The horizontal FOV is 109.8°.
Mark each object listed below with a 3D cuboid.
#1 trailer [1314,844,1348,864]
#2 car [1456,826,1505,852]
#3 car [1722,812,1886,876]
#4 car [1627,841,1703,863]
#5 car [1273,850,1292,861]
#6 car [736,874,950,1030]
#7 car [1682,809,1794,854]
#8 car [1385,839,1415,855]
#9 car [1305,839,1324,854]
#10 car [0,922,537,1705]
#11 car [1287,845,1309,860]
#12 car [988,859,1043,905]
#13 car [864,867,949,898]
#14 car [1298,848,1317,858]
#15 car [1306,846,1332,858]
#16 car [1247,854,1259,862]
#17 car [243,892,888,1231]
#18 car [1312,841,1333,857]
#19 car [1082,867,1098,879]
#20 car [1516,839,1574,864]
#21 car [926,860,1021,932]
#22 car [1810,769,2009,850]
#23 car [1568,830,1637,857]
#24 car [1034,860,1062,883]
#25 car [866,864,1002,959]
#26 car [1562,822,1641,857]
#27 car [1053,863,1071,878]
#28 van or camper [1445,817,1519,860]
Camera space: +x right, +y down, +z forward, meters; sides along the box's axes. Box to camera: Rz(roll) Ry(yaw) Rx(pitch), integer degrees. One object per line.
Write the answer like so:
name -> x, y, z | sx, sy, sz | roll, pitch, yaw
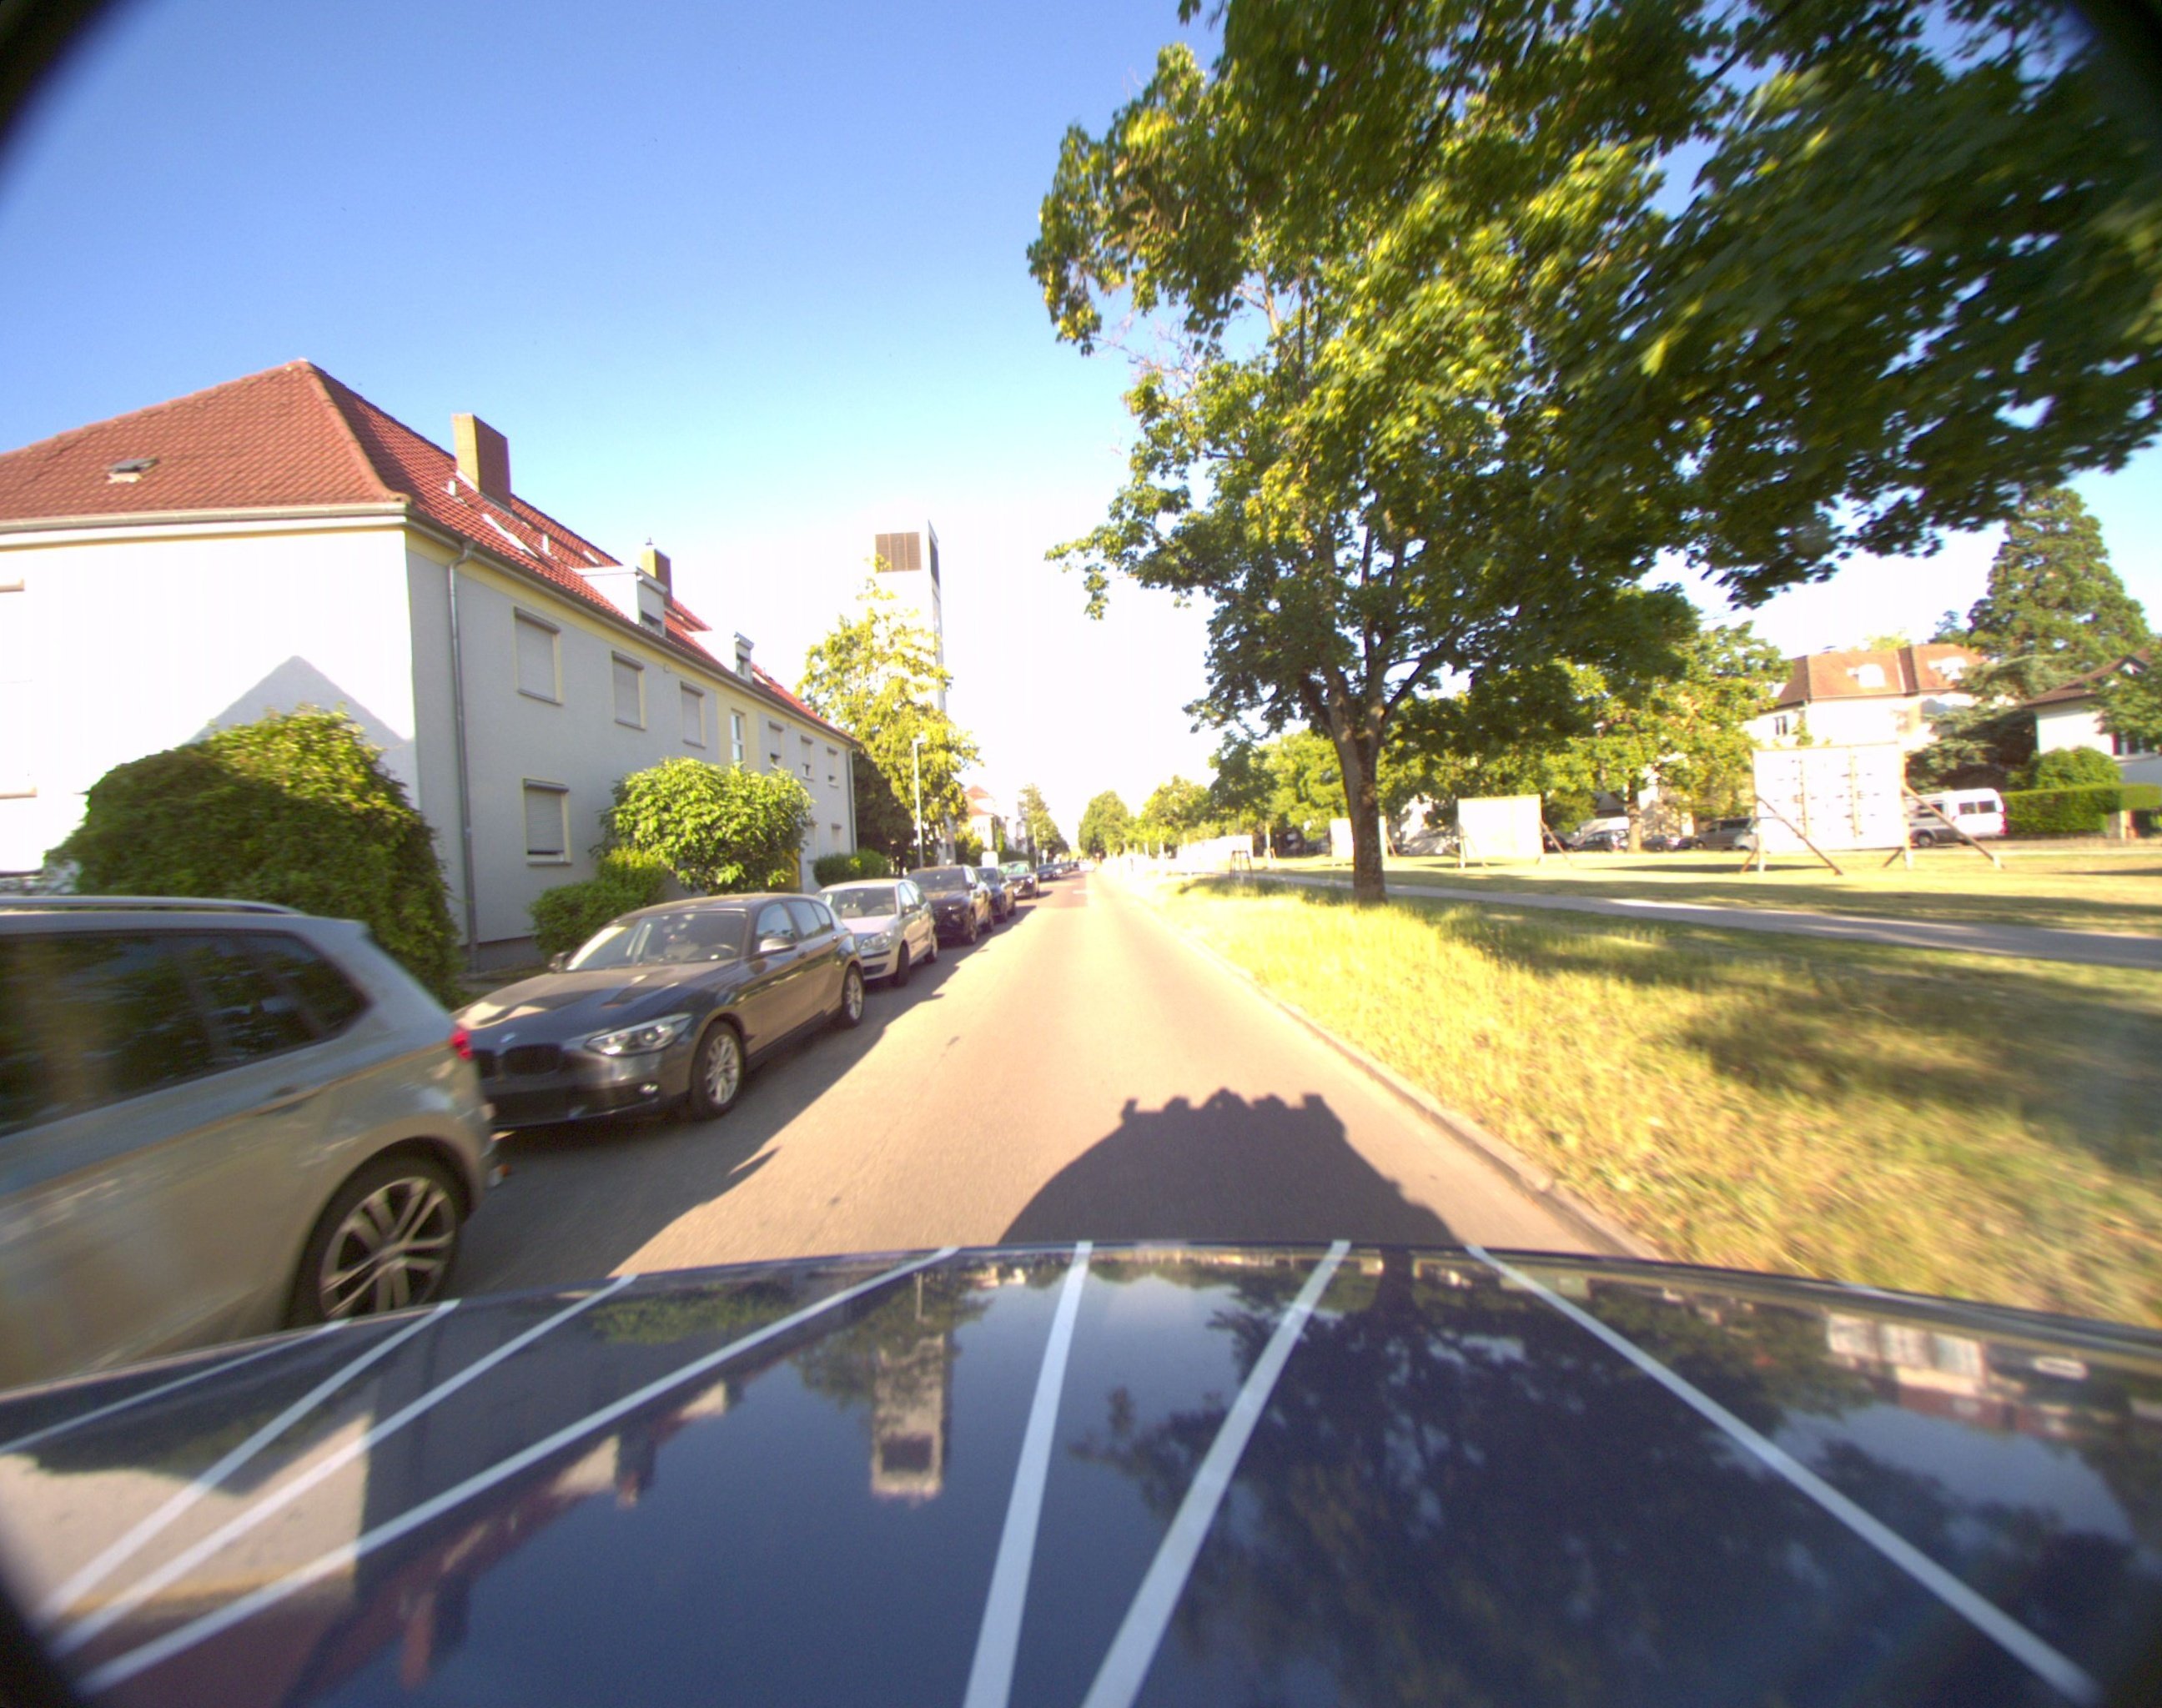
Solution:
trailer -> 34.650, -0.047, 105.416 | 2.479, 2.643, 6.636 | 1, 0, 0
car -> 34.080, -1.221, 64.951 | 1.998, 2.001, 4.001 | -3, -1, 1
car -> 34.110, -0.454, 36.183 | 2.266, 2.809, 5.871 | 1, 0, 1
car -> 40.414, -0.151, 52.700 | 1.998, 1.394, 4.563 | 1, 0, 4
car -> 35.030, 0.295, 132.163 | 1.999, 1.718, 4.345 | -3, -1, -1
car -> -3.213, 1.227, 11.198 | 1.732, 1.539, 4.207 | -7, 0, -1
car -> 40.150, -1.336, 46.679 | 2.141, 2.589, 5.325 | 1, 0, -1
car -> 40.609, -0.892, 96.881 | 1.894, 1.901, 4.715 | -3, -1, 1
car -> 40.731, -1.380, 132.741 | 1.998, 2.527, 3.999 | -3, 1, 1
car -> -3.204, 1.094, 1.076 | 1.729, 1.552, 4.416 | -4, -1, -2
car -> 34.838, -0.212, 122.118 | 1.999, 2.161, 4.571 | -3, -1, -2
car -> -2.824, 1.167, 33.612 | 1.837, 1.721, 5.032 | -5, 0, 0
car -> -10.981, 1.779, 48.065 | 4.859, 1.478, 2.001 | -4, 3, 0
car -> 34.741, -0.118, 116.515 | 1.857, 1.308, 4.043 | -4, 0, 3
car -> 34.797, -0.274, 111.256 | 1.999, 1.632, 4.951 | -4, 0, -1
car -> 35.379, 0.909, 156.512 | 1.894, 1.513, 3.682 | -2, -1, 6
car -> -3.286, 1.208, 6.254 | 1.998, 1.453, 4.562 | -4, -1, 2
car -> 40.620, -0.811, 127.910 | 1.950, 2.624, 5.044 | 1, 0, 1
car -> 1.166, 2.604, 102.923 | 1.998, 1.483, 4.000 | -3, -1, 0
car -> 40.550, -0.219, 66.595 | 1.974, 1.992, 5.050 | -3, -1, 1
car -> -2.994, 1.129, 22.170 | 1.938, 1.710, 4.622 | -6, -1, 0
car -> 39.897, -1.989, 36.994 | 2.309, 3.538, 6.765 | 1, 0, 1
car -> 33.790, -0.648, 49.360 | 1.417, 1.554, 4.310 | -3, -1, 0
car -> -2.670, 1.448, 62.417 | 1.827, 1.552, 4.622 | -9, -1, 1
car -> -3.002, 1.115, 16.645 | 1.859, 1.647, 4.820 | -4, -1, 1
car -> 40.701, -1.123, 59.629 | 1.998, 2.582, 6.090 | 1, 0, 0
car -> -2.300, 2.017, 94.517 | 1.999, 1.588, 4.886 | -7, 0, 0
van or camper -> 34.080, -1.221, 64.951 | 2.648, 3.243, 6.906 | -3, -1, 1
